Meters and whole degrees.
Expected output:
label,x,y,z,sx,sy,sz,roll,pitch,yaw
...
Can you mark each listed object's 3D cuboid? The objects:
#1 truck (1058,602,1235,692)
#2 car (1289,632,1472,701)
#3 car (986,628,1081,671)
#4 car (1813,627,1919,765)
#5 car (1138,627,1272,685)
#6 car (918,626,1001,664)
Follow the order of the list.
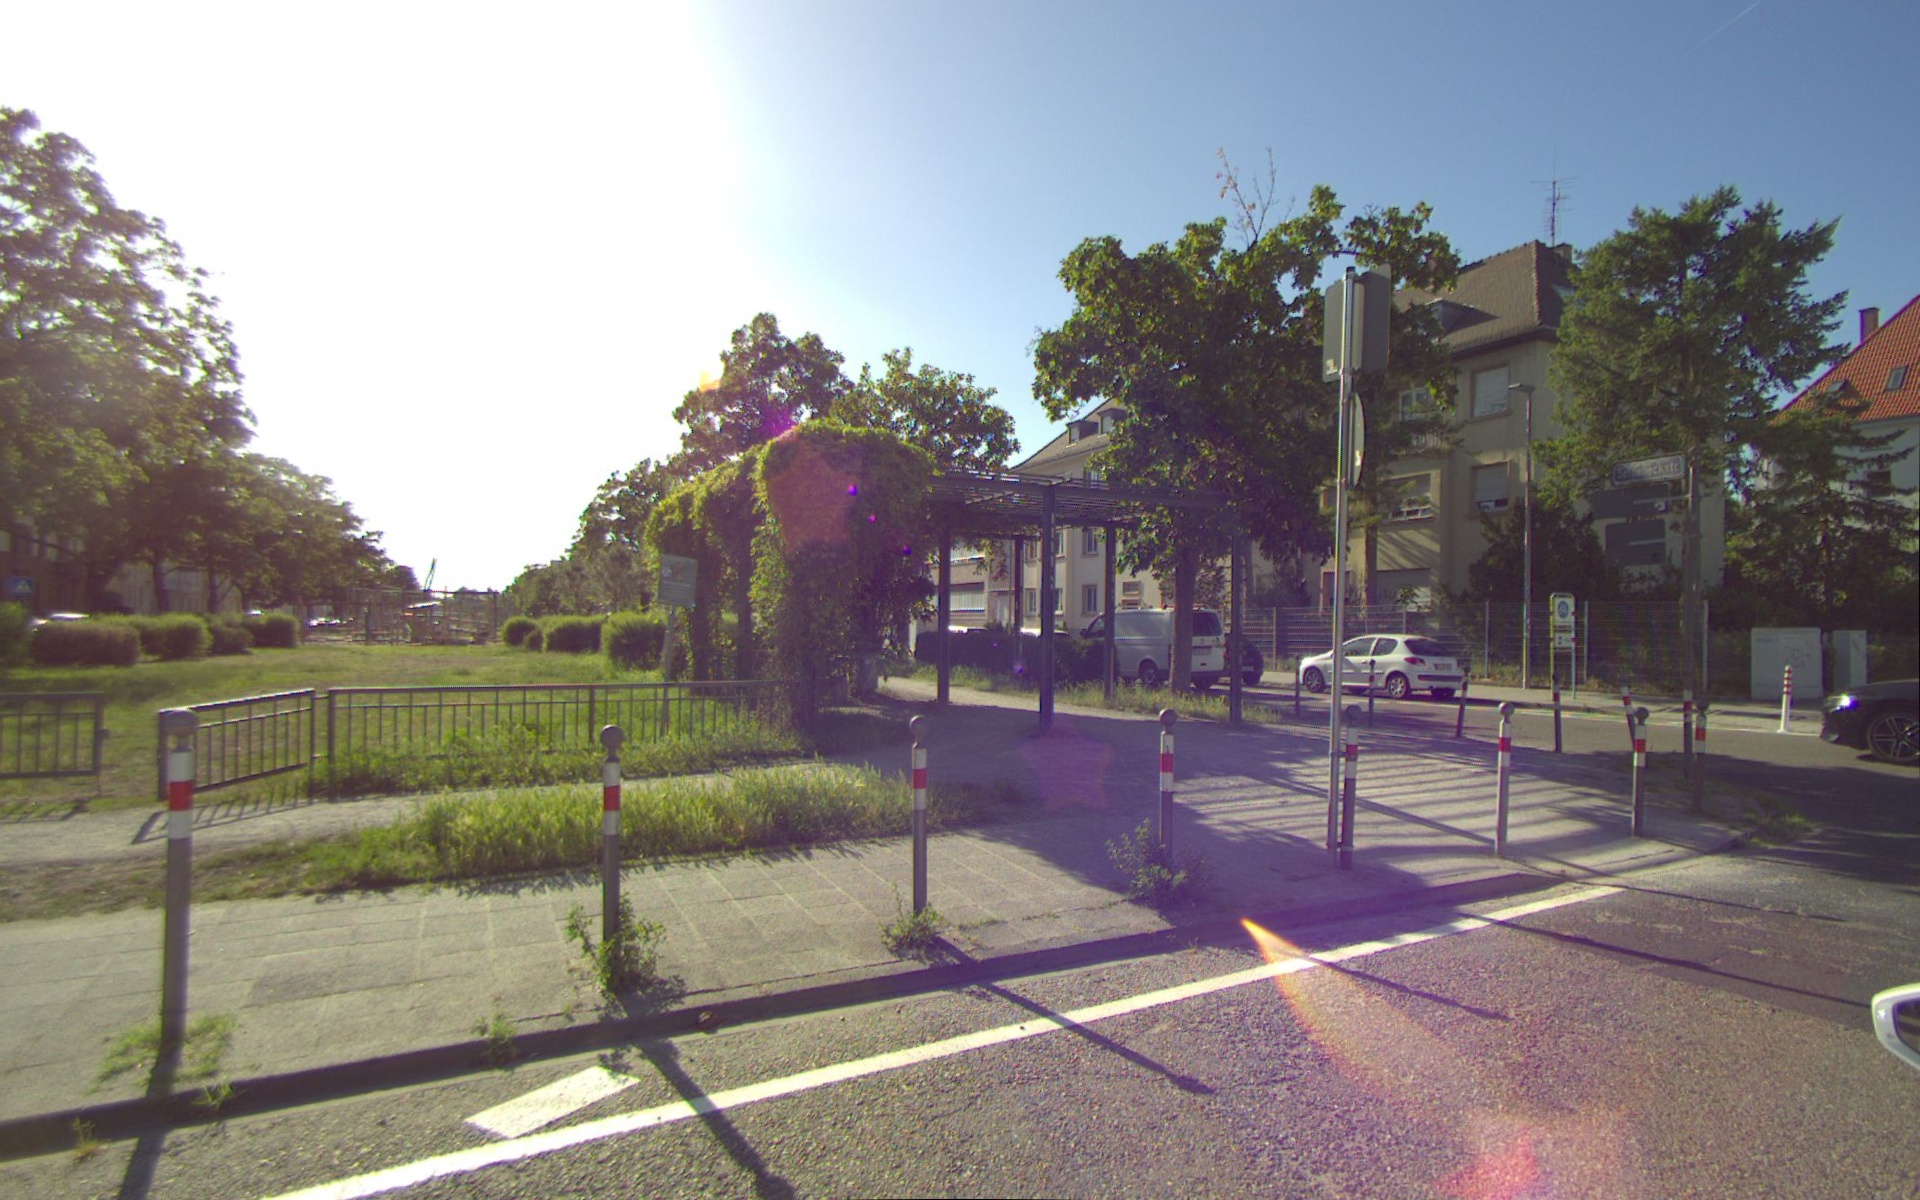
label,x,y,z,sx,sy,sz,roll,pitch,yaw
truck,4.636,1.141,25.746,1.974,2.063,4.841,1,-2,-27
car,9.651,1.492,23.346,1.685,1.416,3.751,2,-2,-27
car,2.706,1.828,37.781,1.778,1.514,3.974,2,-2,-26
car,12.336,1.076,10.592,1.976,1.545,4.720,1,-2,-29
car,6.866,1.564,28.540,1.655,1.514,3.801,2,-2,-26
car,-0.053,1.903,43.285,1.781,1.514,3.967,3,-2,-31
